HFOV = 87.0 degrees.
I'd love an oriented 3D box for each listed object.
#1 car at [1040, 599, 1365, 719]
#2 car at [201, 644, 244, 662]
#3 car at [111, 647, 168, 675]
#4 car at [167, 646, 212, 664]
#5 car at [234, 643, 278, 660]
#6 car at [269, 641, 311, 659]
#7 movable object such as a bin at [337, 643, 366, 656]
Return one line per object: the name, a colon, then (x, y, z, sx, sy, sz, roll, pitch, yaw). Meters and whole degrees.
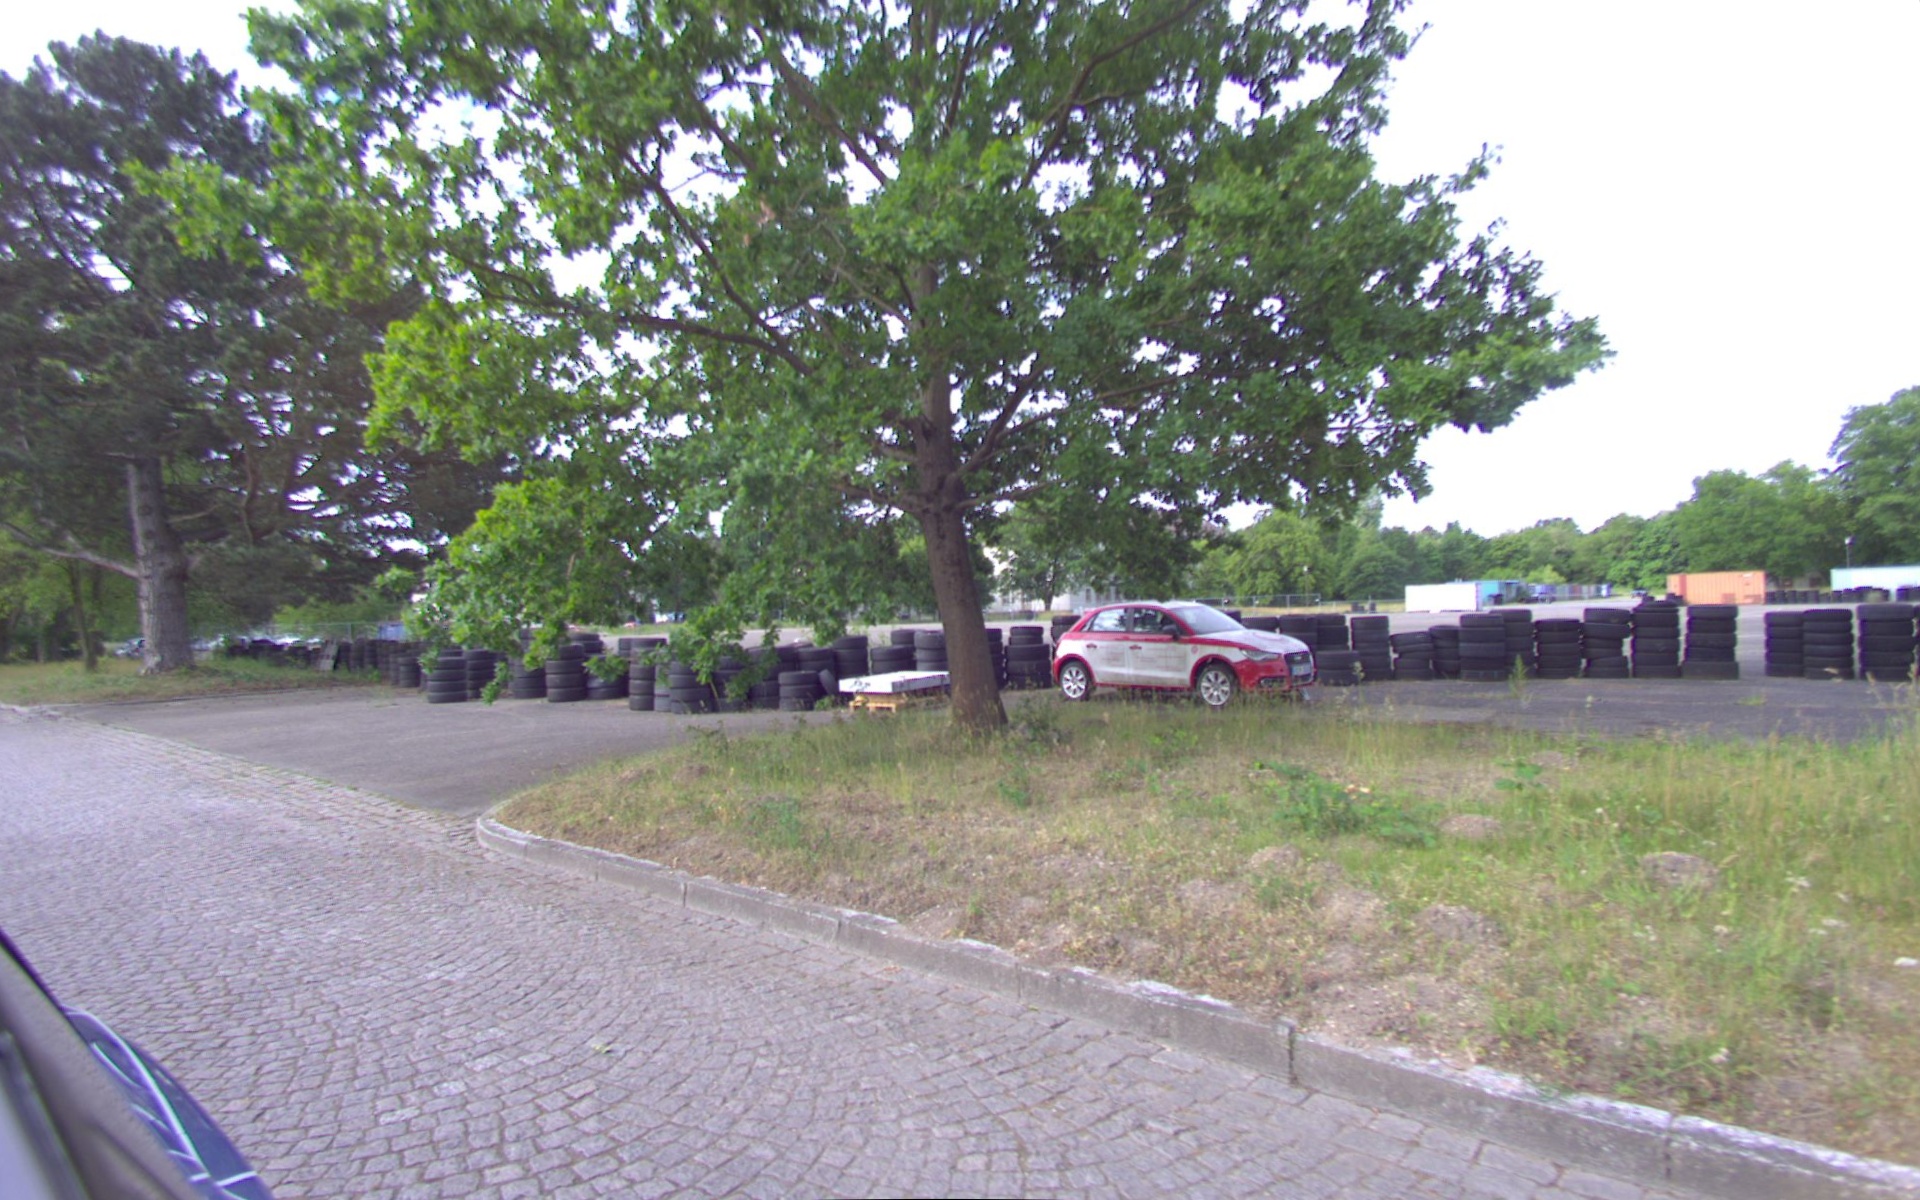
car: (3.352, 0.808, 14.591, 1.802, 1.442, 4.222, -1, -2, -43)
car: (-65.477, 4.735, 89.819, 4.446, 1.460, 1.975, -3, -1, 38)
car: (-44.906, 3.346, 55.363, 3.719, 1.421, 1.649, -3, -1, 39)
car: (-66.719, 4.762, 87.618, 4.446, 1.460, 1.975, -3, -1, 38)
car: (-63.900, 4.696, 91.827, 4.446, 1.460, 1.975, -3, -1, 38)
car: (-62.455, 4.664, 94.342, 4.446, 1.460, 1.975, -3, -1, 38)
movable object such as a bin: (-52.164, 4.251, 86.697, 2.712, 1.079, 1.046, -3, -1, 32)
